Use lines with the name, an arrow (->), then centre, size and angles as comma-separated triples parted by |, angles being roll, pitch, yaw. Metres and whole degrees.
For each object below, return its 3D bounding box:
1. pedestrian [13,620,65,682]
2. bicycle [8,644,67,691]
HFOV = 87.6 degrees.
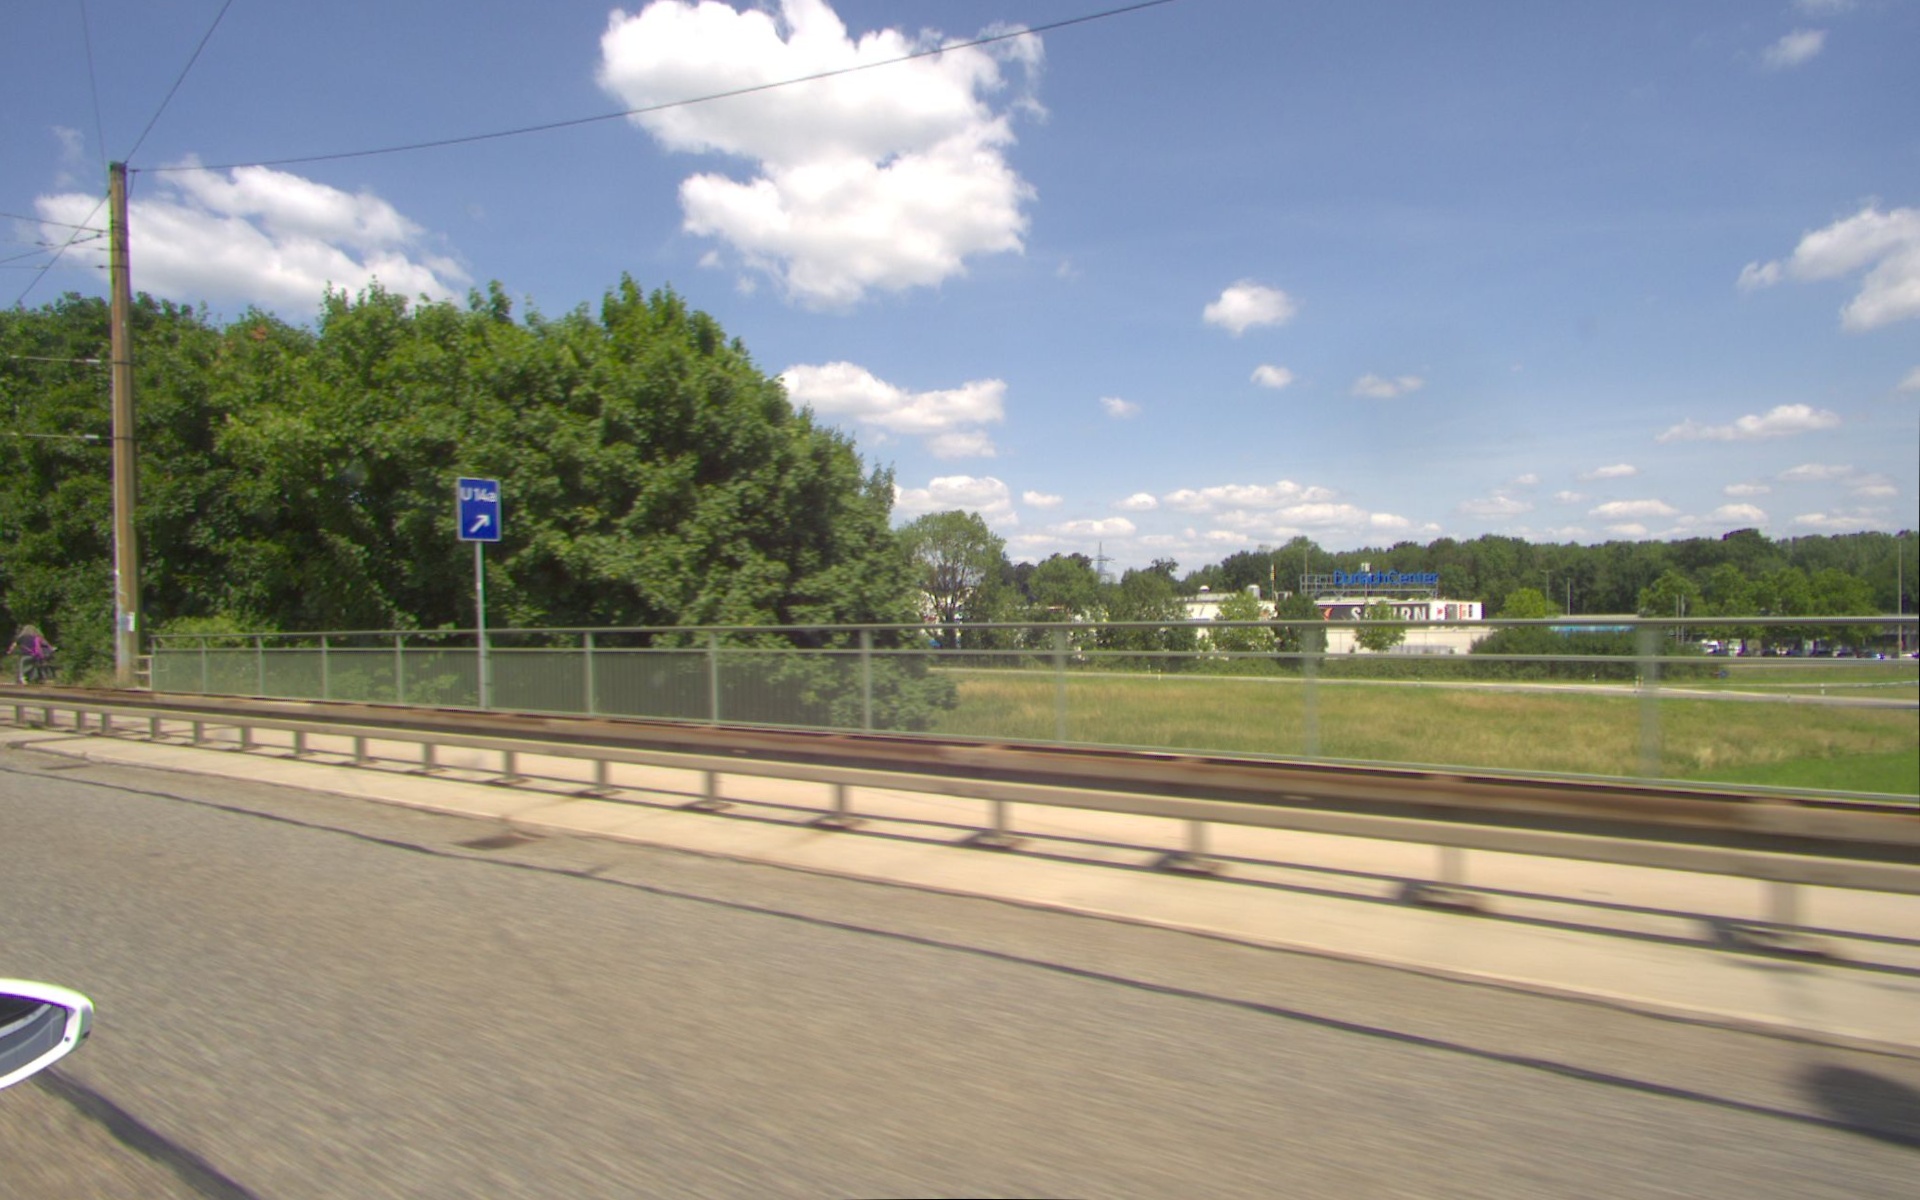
pedestrian -> -21.295, 1.160, 23.154 | 1.036, 1.392, 0.626 | -1, 0, 33
bicycle -> -21.364, 1.557, 23.187 | 1.822, 1.037, 0.558 | -2, 0, 33
